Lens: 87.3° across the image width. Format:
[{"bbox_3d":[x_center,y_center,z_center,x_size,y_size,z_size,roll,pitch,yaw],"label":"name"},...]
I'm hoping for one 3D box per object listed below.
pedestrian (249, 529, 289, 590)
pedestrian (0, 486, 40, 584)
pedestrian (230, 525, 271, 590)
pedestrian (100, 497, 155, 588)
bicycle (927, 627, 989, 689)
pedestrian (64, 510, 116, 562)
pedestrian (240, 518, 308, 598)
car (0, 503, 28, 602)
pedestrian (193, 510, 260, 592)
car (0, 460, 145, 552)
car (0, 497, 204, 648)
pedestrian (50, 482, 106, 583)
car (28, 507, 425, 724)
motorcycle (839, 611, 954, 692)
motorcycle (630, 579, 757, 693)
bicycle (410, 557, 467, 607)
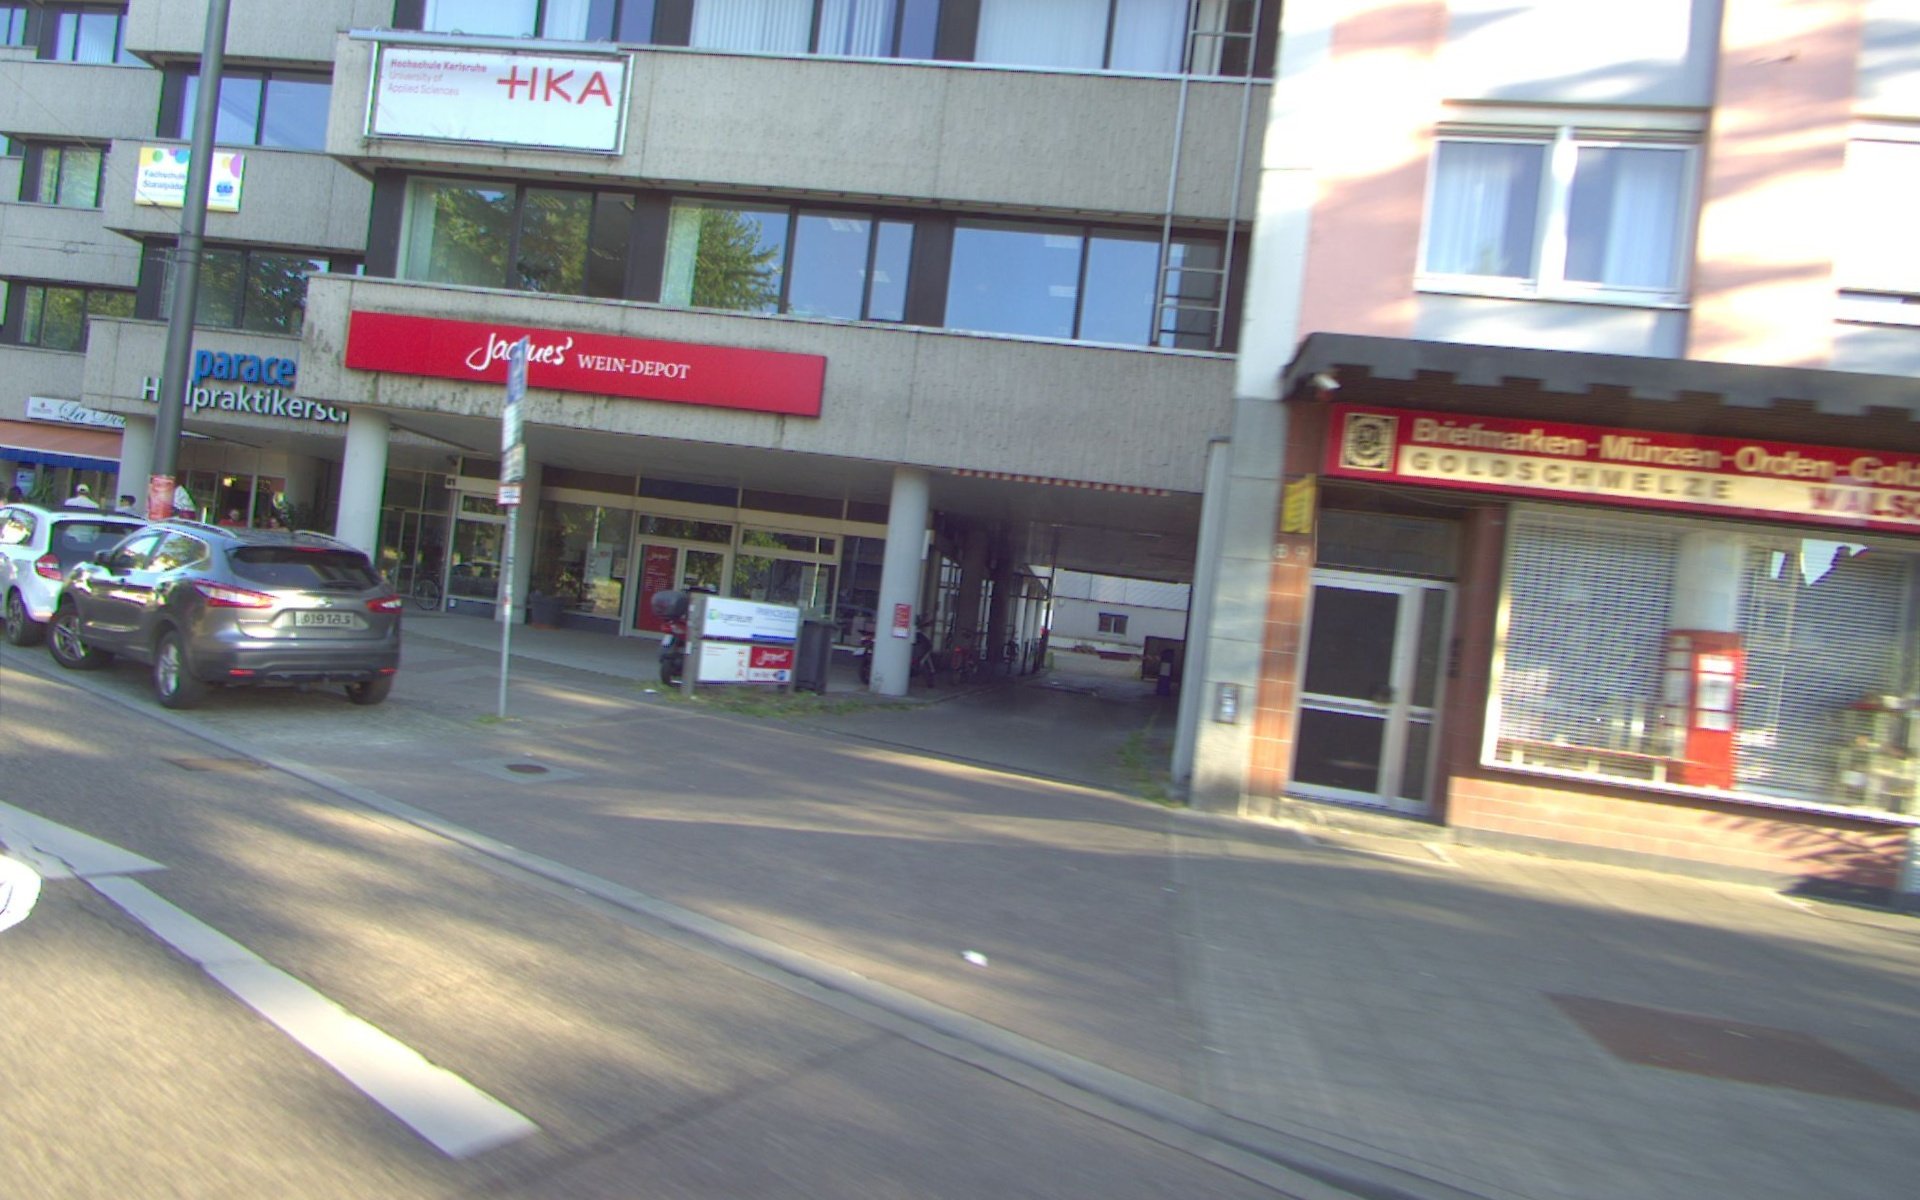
[{"bbox_3d":[-19.993,-1.172,29.118,0.511,1.668,0.599,7,-1,9],"label":"pedestrian"},{"bbox_3d":[-17.905,-1.227,19.011,0.651,1.783,0.578,6,2,34],"label":"pedestrian"},{"bbox_3d":[-20.579,-1.220,29.200,0.511,1.780,0.599,7,-1,9],"label":"pedestrian"},{"bbox_3d":[-16.861,-1.161,20.373,0.651,1.763,0.622,6,2,34],"label":"pedestrian"},{"bbox_3d":[-0.016,1.108,19.528,0.475,1.088,1.869,7,1,20],"label":"bicycle"},{"bbox_3d":[-23.716,-1.728,27.444,0.649,1.298,0.768,6,1,4],"label":"pedestrian"},{"bbox_3d":[-15.800,-0.955,23.202,0.975,1.694,0.641,6,1,-7],"label":"pedestrian"},{"bbox_3d":[-16.262,-0.911,15.706,3.793,1.460,1.662,6,1,34],"label":"car"},{"bbox_3d":[-16.651,-1.083,22.864,0.687,1.749,1.031,6,1,-7],"label":"pedestrian"},{"bbox_3d":[-29.598,-3.041,32.217,2.052,2.473,5.335,6,0,7],"label":"car"},{"bbox_3d":[-11.122,-0.397,12.445,3.551,1.577,1.608,6,1,32],"label":"car"},{"bbox_3d":[-17.298,-1.315,19.730,0.651,1.882,0.622,6,2,34],"label":"pedestrian"},{"bbox_3d":[-7.307,0.058,9.903,4.166,1.577,1.782,6,1,34],"label":"car"},{"bbox_3d":[-1.074,0.918,17.472,2.007,1.219,0.524,8,-1,-43],"label":"motorcycle"},{"bbox_3d":[-3.461,0.474,13.241,0.572,1.348,1.787,6,1,21],"label":"motorcycle"},{"bbox_3d":[-12.160,-0.414,23.507,0.475,1.086,1.756,6,1,-6],"label":"bicycle"}]
